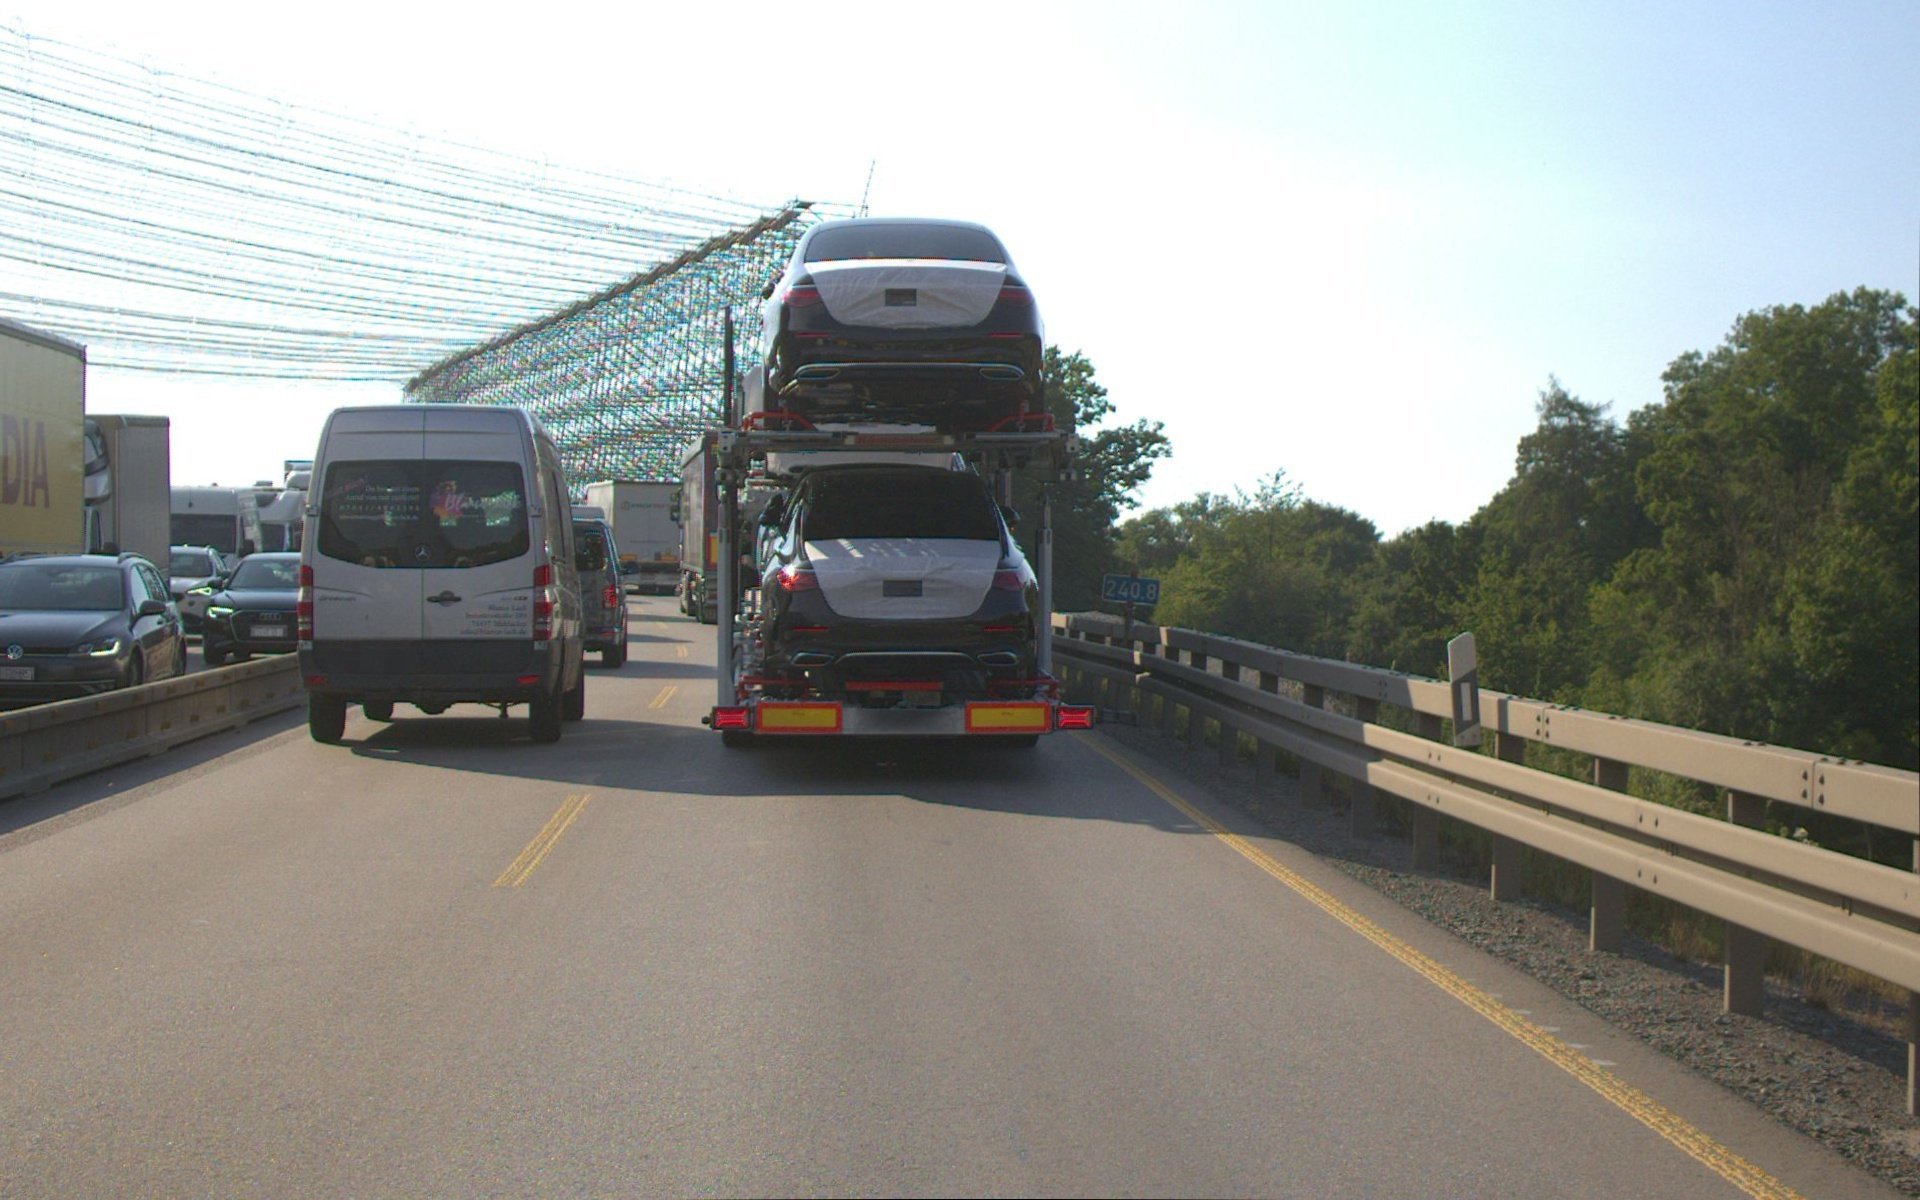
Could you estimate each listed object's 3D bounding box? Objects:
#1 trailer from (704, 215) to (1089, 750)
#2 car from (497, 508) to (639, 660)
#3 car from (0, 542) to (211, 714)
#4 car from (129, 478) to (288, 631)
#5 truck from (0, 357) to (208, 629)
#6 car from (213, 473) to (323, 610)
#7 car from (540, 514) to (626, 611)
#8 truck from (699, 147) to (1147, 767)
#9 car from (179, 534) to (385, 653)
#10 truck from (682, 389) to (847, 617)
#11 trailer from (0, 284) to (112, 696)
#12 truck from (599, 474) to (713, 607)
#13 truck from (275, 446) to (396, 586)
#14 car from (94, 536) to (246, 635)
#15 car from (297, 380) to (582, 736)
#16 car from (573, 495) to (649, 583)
[{"bbox_3d":[-0.928,-0.814,33.272,2.874,3.980,15.280,0,0,-3],"label":"trailer"},{"bbox_3d":[-5.273,-0.193,46.574,1.668,1.978,3.818,0,-1,-3],"label":"car"},{"bbox_3d":[-8.060,0.256,31.109,1.754,1.444,4.534,0,-1,-2],"label":"car"},{"bbox_3d":[-13.998,-0.798,64.361,2.128,2.741,5.505,0,-1,-4],"label":"car"},{"bbox_3d":[-12.438,-1.360,48.377,2.358,3.519,7.698,0,-1,-3],"label":"truck"},{"bbox_3d":[-14.486,-1.229,72.165,1.668,2.756,4.960,0,1,-4],"label":"car"},{"bbox_3d":[-7.944,-0.760,72.655,1.668,1.978,3.818,0,-1,-4],"label":"car"},{"bbox_3d":[-0.404,-0.891,24.931,2.869,3.966,5.772,0,-1,-3],"label":"truck"},{"bbox_3d":[-9.059,-0.062,46.281,1.993,1.525,4.726,0,-1,-2],"label":"car"},{"bbox_3d":[-4.486,-2.086,76.407,3.227,4.661,11.697,0,1,-5],"label":"truck"},{"bbox_3d":[-11.603,-1.174,35.632,2.893,4.379,14.381,0,-1,-3],"label":"trailer"},{"bbox_3d":[-11.257,-2.191,126.286,3.647,4.661,11.698,0,1,-8],"label":"truck"},{"bbox_3d":[-18.604,-2.473,102.841,2.641,3.981,9.031,0,1,-4],"label":"truck"},{"bbox_3d":[-12.647,-0.206,55.241,1.808,1.525,4.048,0,-1,-4],"label":"car"},{"bbox_3d":[-4.137,-0.300,27.935,1.979,2.675,4.147,0,-1,-4],"label":"car"},{"bbox_3d":[-8.188,-1.409,80.827,1.668,1.978,3.818,0,-1,-4],"label":"car"}]
